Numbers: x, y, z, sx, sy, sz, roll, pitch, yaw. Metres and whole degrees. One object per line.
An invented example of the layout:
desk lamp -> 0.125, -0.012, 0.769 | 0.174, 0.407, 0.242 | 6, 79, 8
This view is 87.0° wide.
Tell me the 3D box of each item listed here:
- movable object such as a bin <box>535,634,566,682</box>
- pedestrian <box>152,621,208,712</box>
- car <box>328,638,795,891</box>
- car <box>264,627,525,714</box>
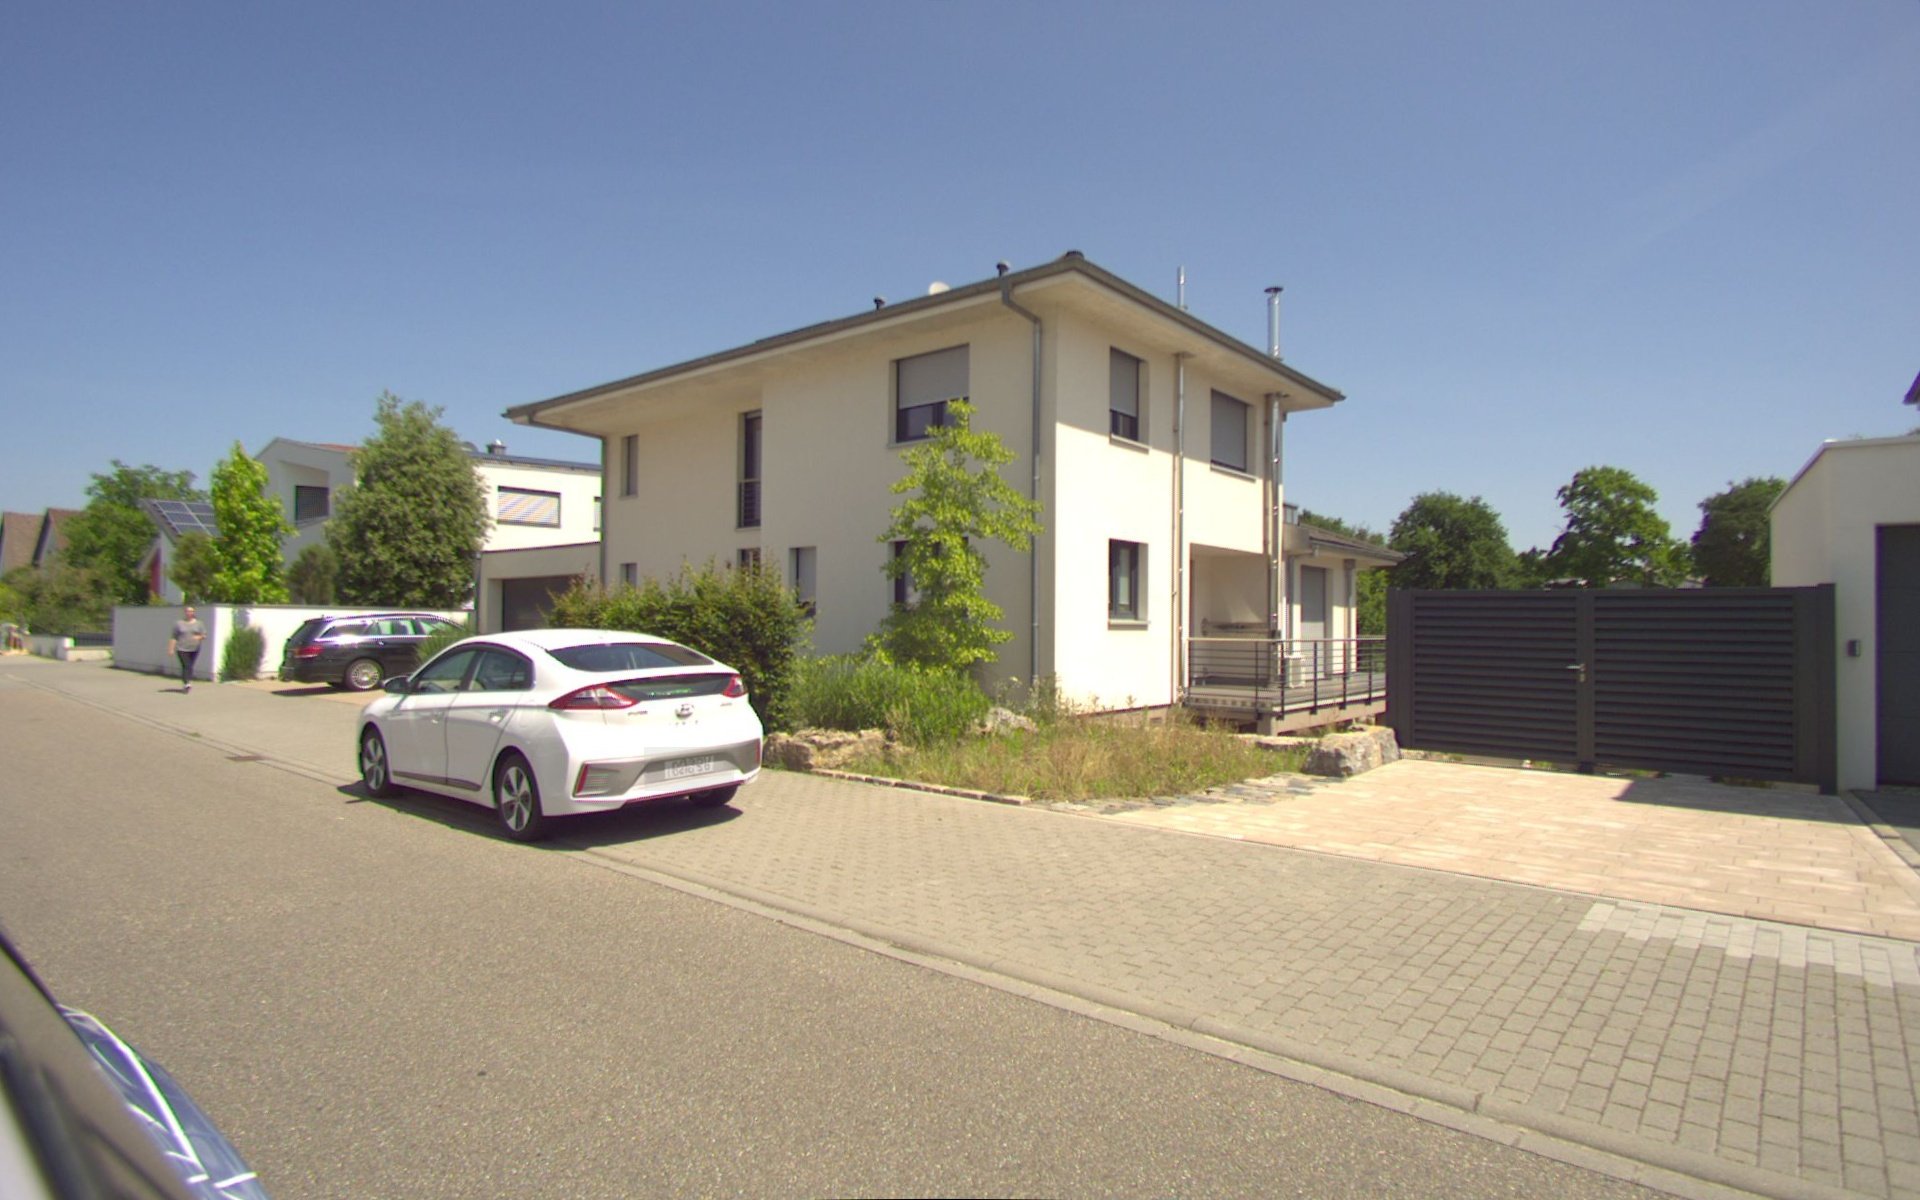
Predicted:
movable object such as a bin -> -9.509, 1.337, 23.496 | 0.588, 1.081, 0.381 | -2, -3, 34
pedestrian -> -15.607, 1.307, 20.261 | 0.960, 1.760, 0.707 | -1, -2, 41
car -> -3.493, 1.100, 8.431 | 4.383, 1.499, 1.832 | -1, -1, 41
car -> -11.576, 1.367, 20.937 | 1.851, 1.484, 4.379 | -2, -1, 44
